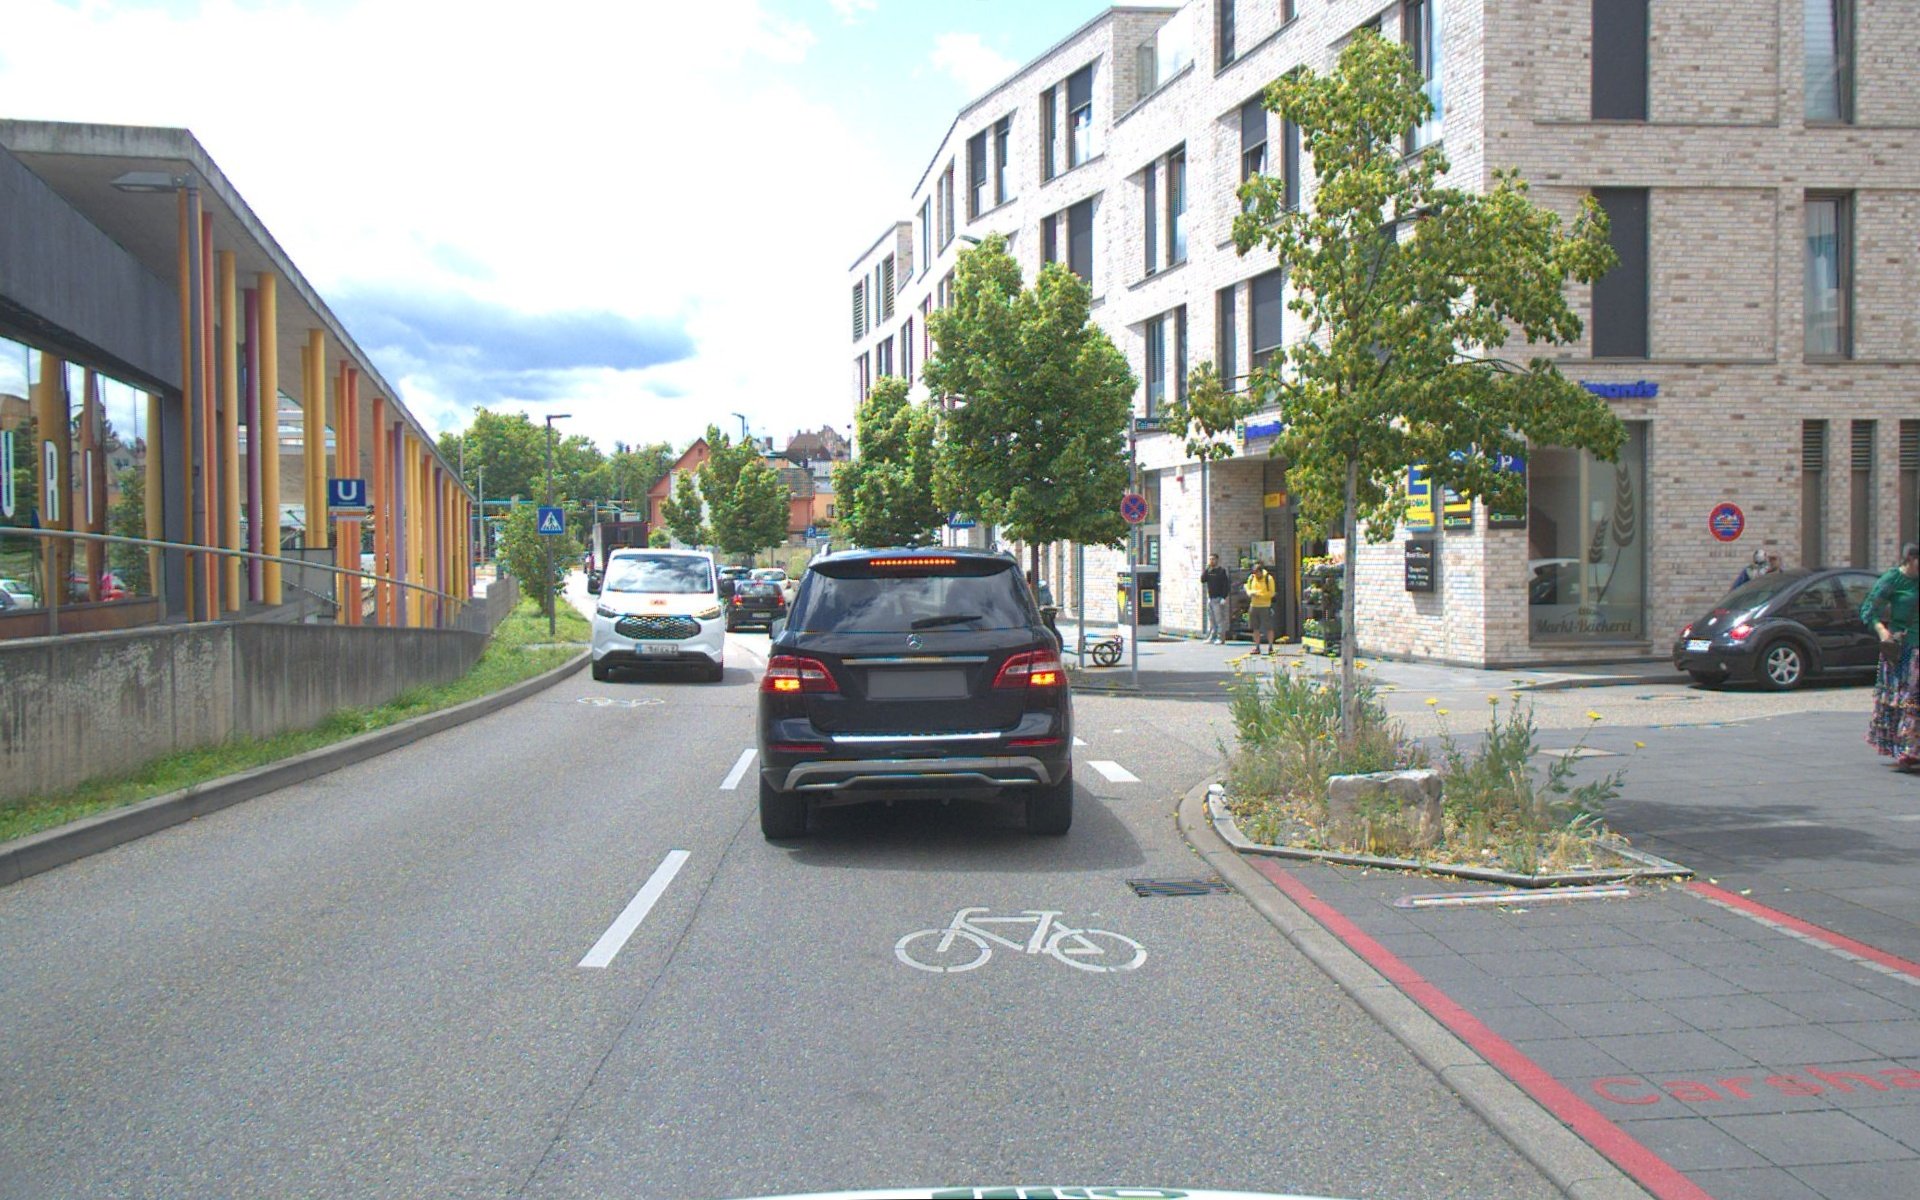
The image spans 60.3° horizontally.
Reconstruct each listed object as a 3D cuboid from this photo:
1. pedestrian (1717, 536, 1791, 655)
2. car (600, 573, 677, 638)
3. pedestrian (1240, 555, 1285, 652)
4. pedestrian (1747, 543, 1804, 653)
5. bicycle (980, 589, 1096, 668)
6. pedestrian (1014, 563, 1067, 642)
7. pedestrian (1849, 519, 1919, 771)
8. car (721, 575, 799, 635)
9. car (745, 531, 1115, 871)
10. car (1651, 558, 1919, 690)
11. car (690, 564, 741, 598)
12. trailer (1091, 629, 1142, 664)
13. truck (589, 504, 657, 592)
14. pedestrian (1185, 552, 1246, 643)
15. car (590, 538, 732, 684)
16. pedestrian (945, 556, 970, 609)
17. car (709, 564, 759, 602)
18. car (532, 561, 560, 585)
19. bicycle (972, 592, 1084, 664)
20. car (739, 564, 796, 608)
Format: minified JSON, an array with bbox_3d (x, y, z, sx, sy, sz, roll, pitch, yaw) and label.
[{"bbox_3d":[11.559,-0.059,24.078,0.549,1.700,0.806,1,-1,-35],"label":"pedestrian"},{"bbox_3d":[-7.847,0.090,40.136,1.741,1.489,4.221,0,1,-12],"label":"car"},{"bbox_3d":[5.438,0.062,29.733,0.644,1.722,0.631,-1,1,25],"label":"pedestrian"},{"bbox_3d":[12.059,-0.030,24.463,0.516,1.601,0.596,1,-1,-35],"label":"pedestrian"},{"bbox_3d":[1.297,0.467,27.531,1.789,1.222,0.755,-2,1,-9],"label":"bicycle"},{"bbox_3d":[1.645,0.049,33.974,0.800,1.592,0.925,0,-1,-20],"label":"pedestrian"},{"bbox_3d":[6.579,0.284,11.383,0.730,1.667,0.926,-2,1,30],"label":"pedestrian"},{"bbox_3d":[-5.607,0.107,46.026,1.697,1.482,3.796,-2,2,-13],"label":"car"},{"bbox_3d":[-0.190,0.499,11.280,1.953,1.777,4.532,-2,1,-1],"label":"car"},{"bbox_3d":[11.289,0.266,21.551,3.819,1.502,1.781,-2,1,-6],"label":"car"},{"bbox_3d":[-11.482,-0.913,77.457,1.834,1.476,4.625,-3,2,-15],"label":"car"},{"bbox_3d":[2.598,0.765,27.521,0.705,0.538,0.811,0,0,-5],"label":"trailer"},{"bbox_3d":[-18.947,-2.771,92.627,3.150,4.615,8.991,0,0,-15],"label":"truck"},{"bbox_3d":[5.104,-0.054,33.109,0.999,1.772,0.656,-1,1,-19],"label":"pedestrian"},{"bbox_3d":[-4.676,0.123,26.205,1.957,2.049,5.383,1,1,-9],"label":"car"},{"bbox_3d":[-0.080,-0.506,47.723,0.596,1.498,0.790,-2,2,-7],"label":"pedestrian"},{"bbox_3d":[-9.737,-0.765,71.055,1.664,1.486,4.132,-2,2,-14],"label":"car"},{"bbox_3d":[-26.968,-1.755,107.745,1.781,1.494,3.893,0,1,-14],"label":"car"},{"bbox_3d":[1.162,0.467,28.349,1.789,1.151,0.755,-2,1,-9],"label":"bicycle"},{"bbox_3d":[-7.243,-0.536,62.076,1.664,1.509,3.785,-2,2,-13],"label":"car"}]
